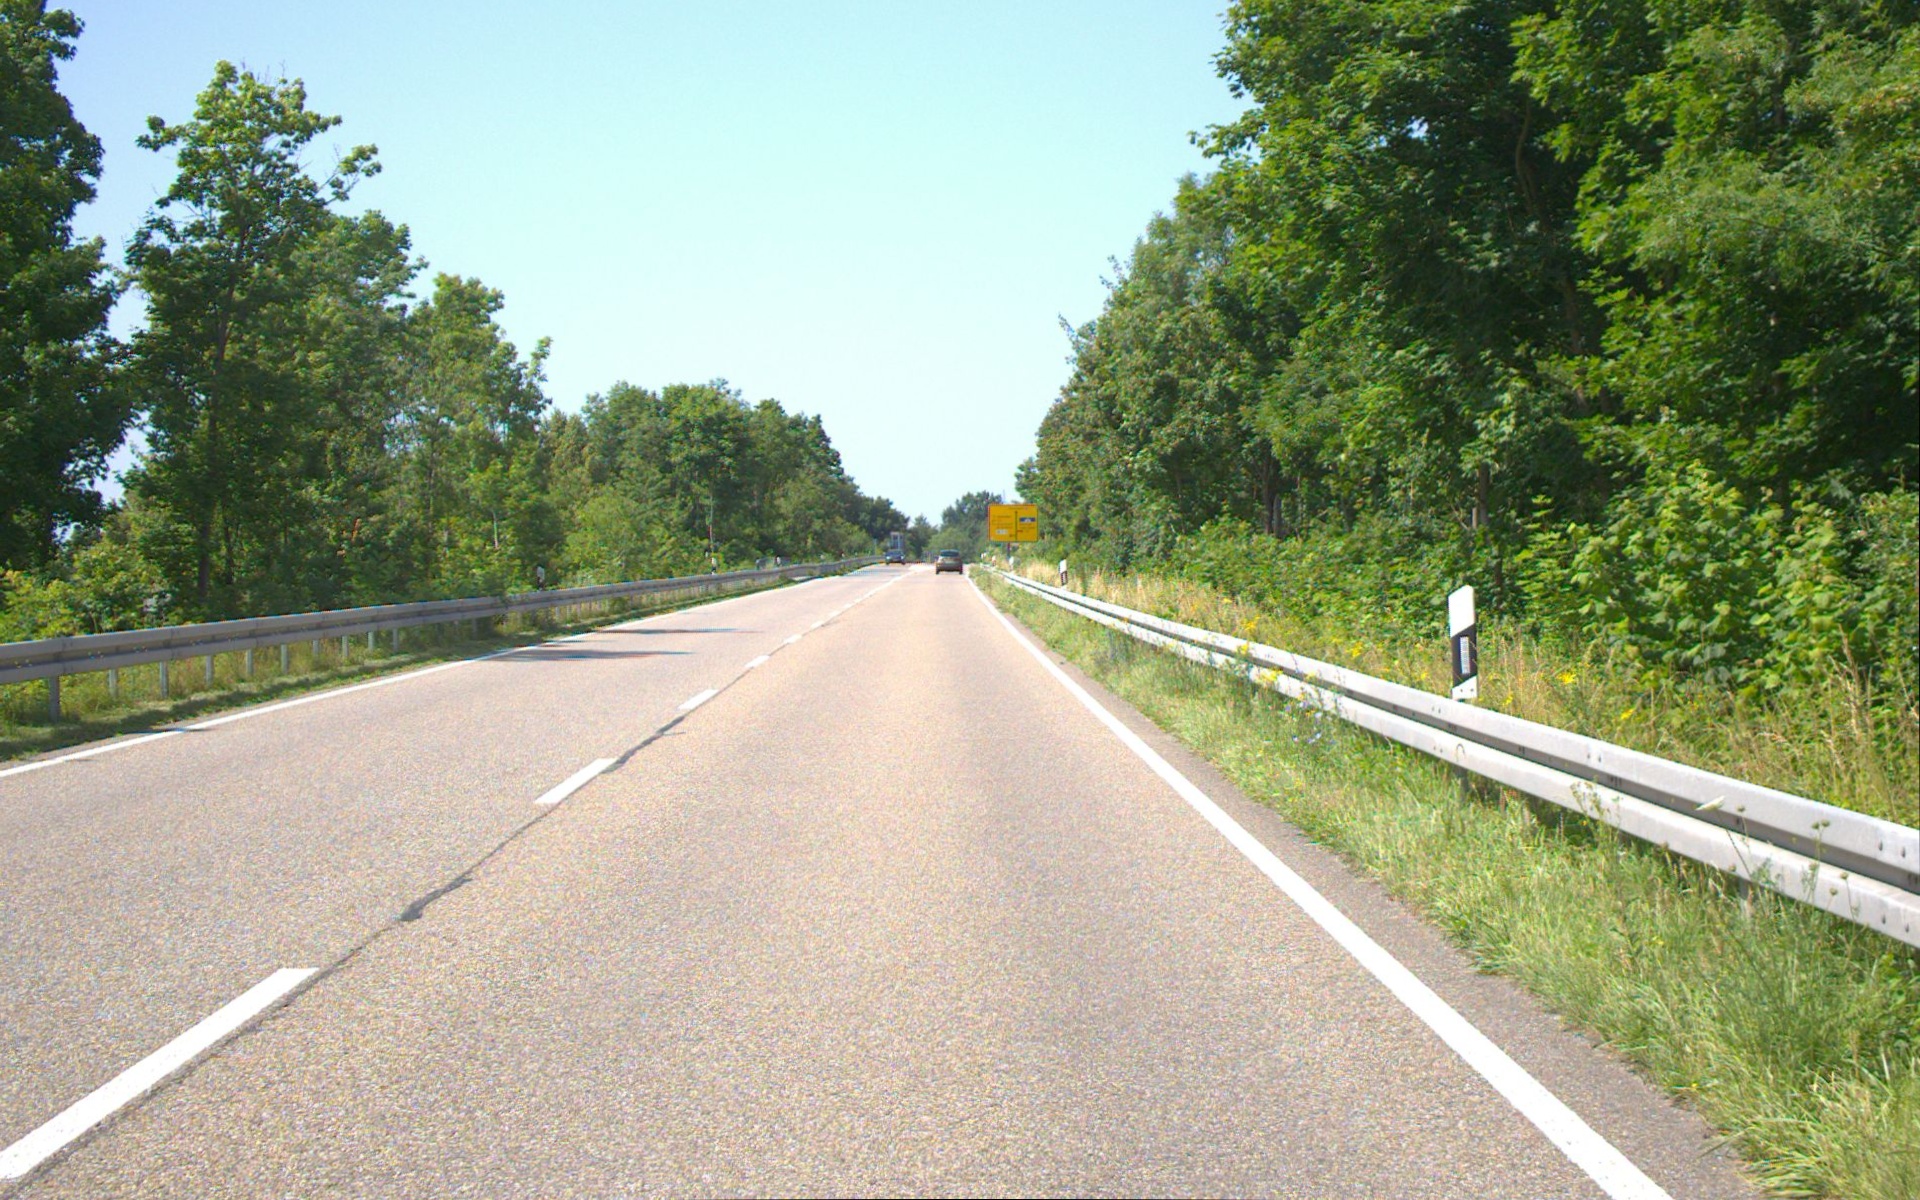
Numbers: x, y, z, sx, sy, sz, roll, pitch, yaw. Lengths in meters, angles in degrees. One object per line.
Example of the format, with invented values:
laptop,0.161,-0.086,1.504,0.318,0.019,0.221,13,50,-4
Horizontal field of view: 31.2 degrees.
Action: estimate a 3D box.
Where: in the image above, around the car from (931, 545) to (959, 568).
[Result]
car,-0.947,-2.825,224.002,1.741,1.465,3.692,0,1,1
